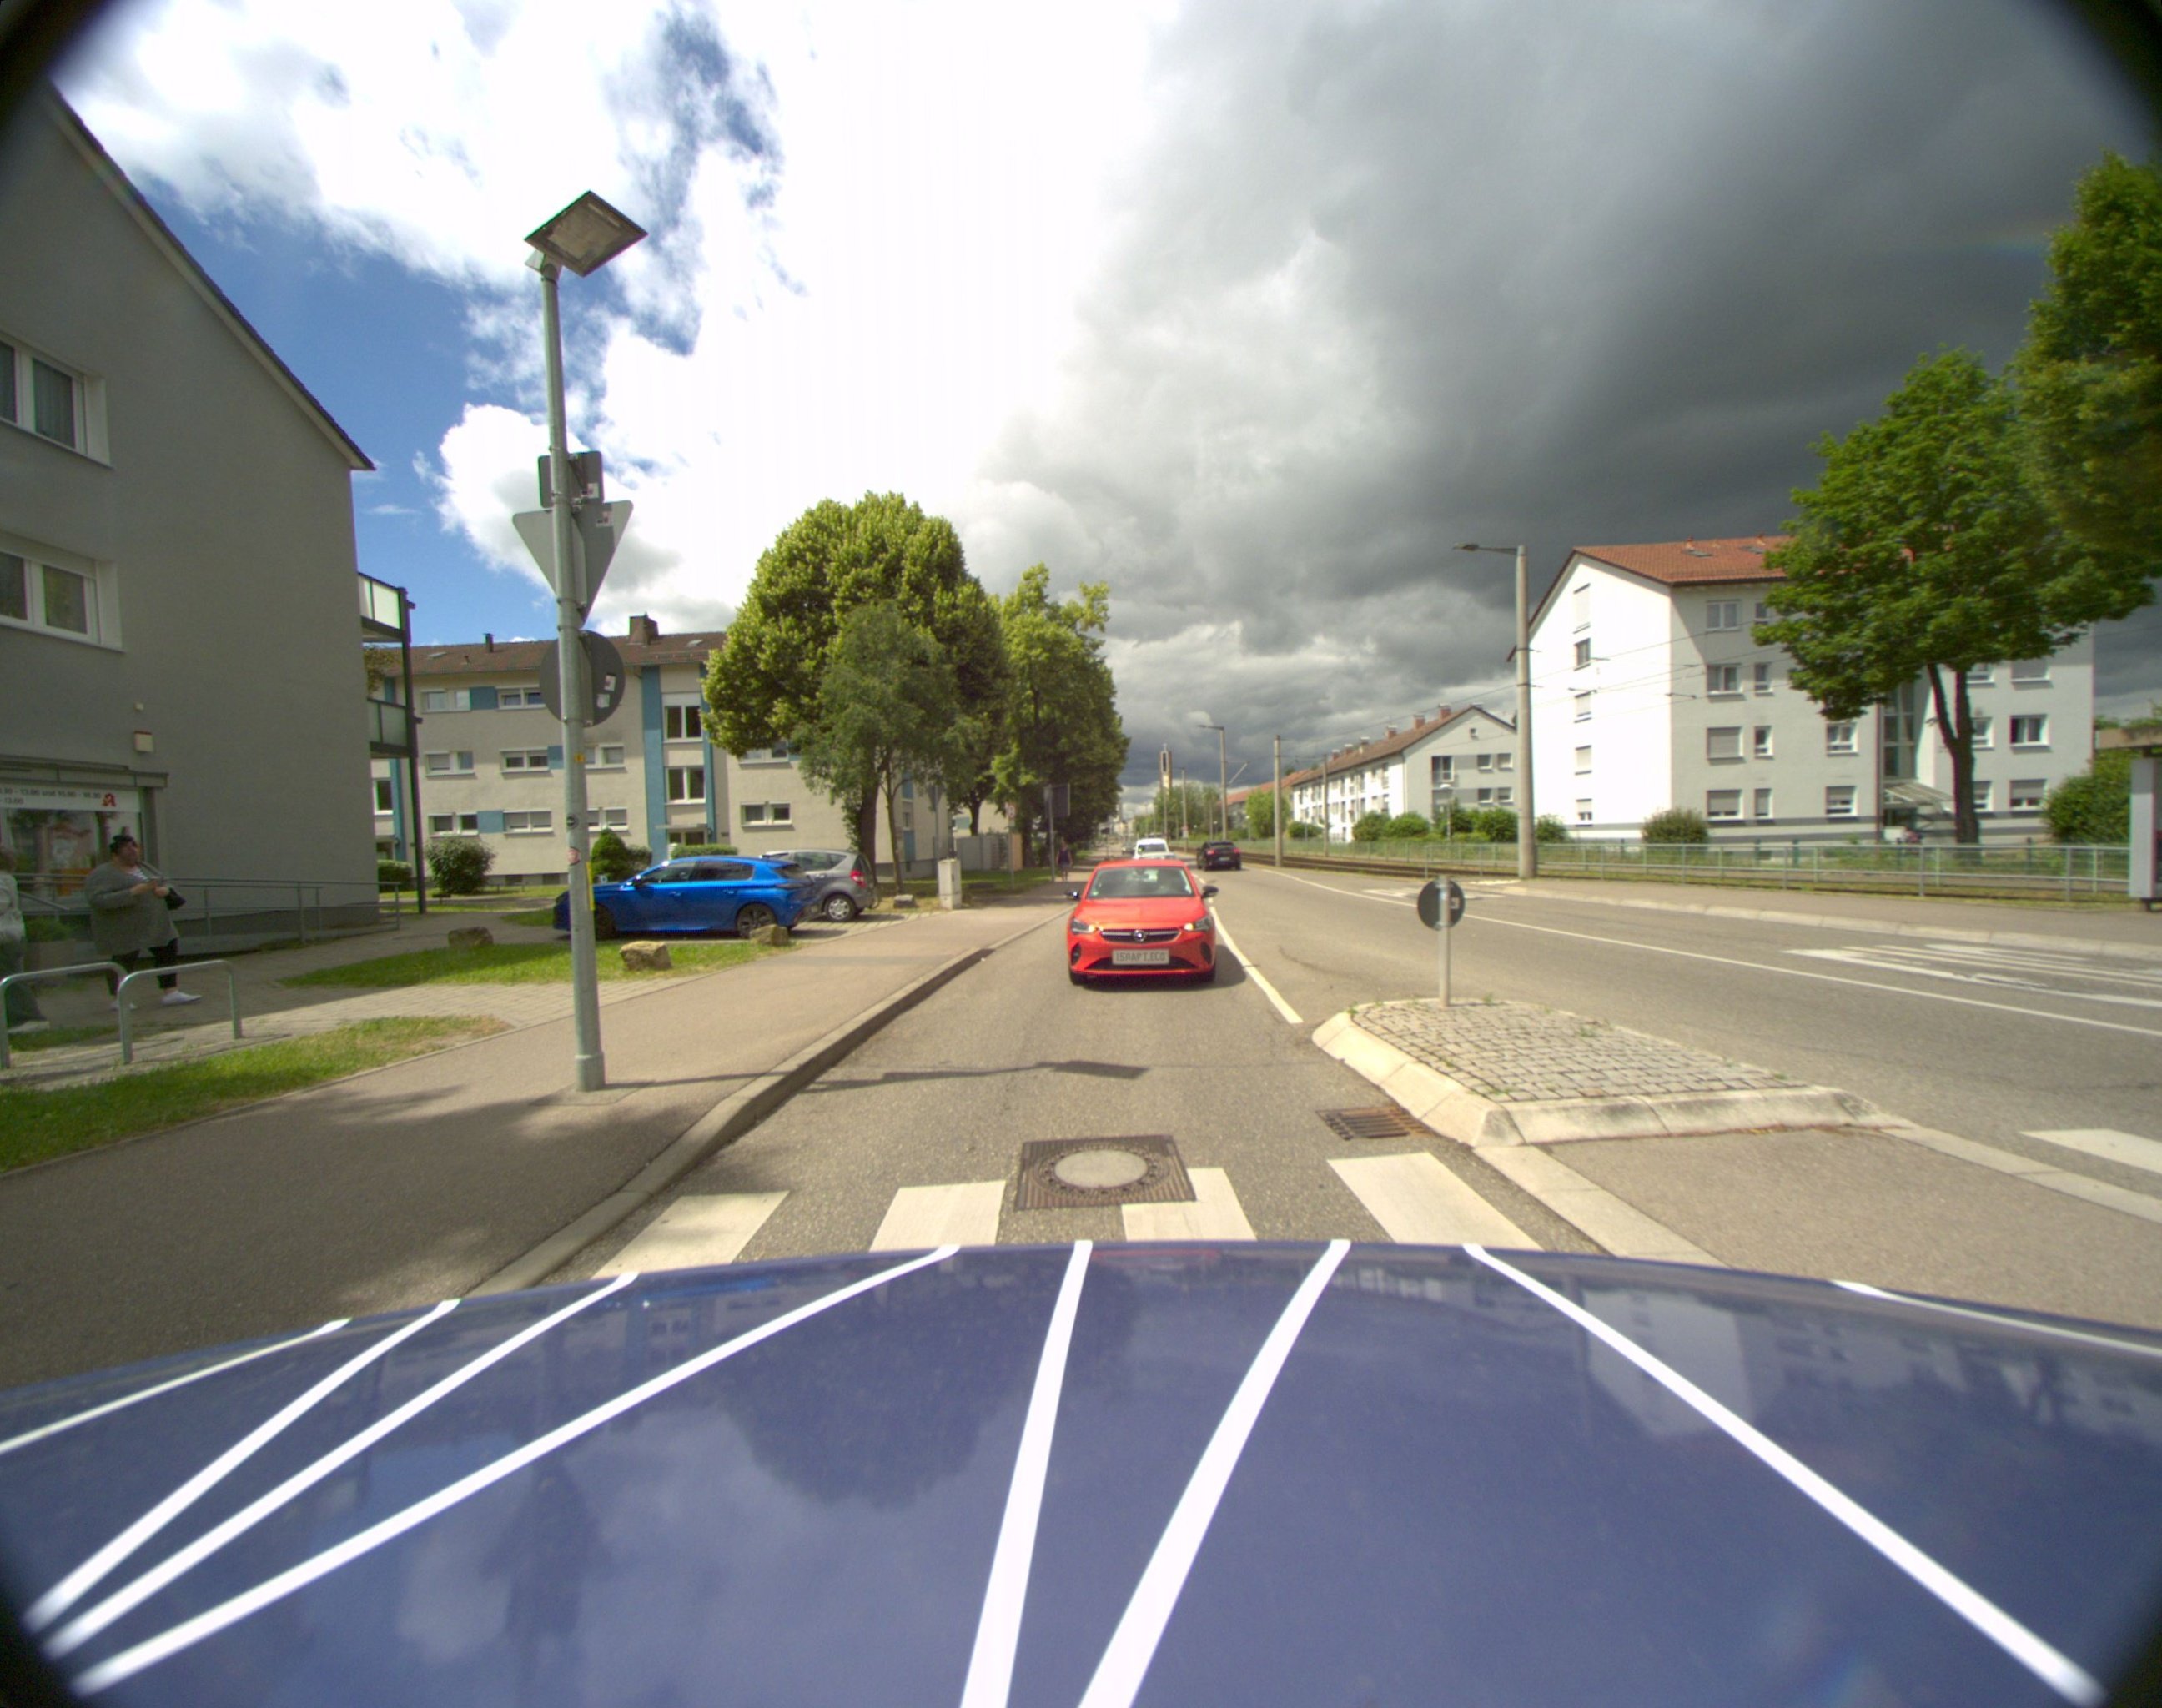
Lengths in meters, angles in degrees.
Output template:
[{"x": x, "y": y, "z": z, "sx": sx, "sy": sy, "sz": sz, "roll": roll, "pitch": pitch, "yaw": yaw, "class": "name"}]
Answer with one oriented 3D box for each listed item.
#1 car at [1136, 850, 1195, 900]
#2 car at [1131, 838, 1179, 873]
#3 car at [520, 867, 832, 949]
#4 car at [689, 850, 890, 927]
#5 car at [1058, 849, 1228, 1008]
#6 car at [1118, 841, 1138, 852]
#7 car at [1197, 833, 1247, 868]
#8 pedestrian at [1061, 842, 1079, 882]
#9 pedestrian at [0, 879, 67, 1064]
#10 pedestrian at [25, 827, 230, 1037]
[{"x": 2.720, "y": 0.626, "z": 24.894, "sx": 1.763, "sy": 1.390, "sz": 4.000, "roll": -1, "pitch": 1, "yaw": 5, "class": "car"}, {"x": 3.582, "y": 0.028, "z": 37.354, "sx": 1.998, "sy": 1.598, "sz": 3.999, "roll": -1, "pitch": 1, "yaw": 1, "class": "car"}, {"x": -7.011, "y": 0.933, "z": 13.632, "sx": 4.497, "sy": 1.236, "sz": 1.998, "roll": 1, "pitch": 1, "yaw": -7, "class": "car"}, {"x": -6.355, "y": 0.727, "z": 16.947, "sx": 3.740, "sy": 1.548, "sz": 2.030, "roll": 1, "pitch": 1, "yaw": -5, "class": "car"}, {"x": 0.835, "y": 0.790, "z": 10.042, "sx": 1.765, "sy": 1.549, "sz": 4.000, "roll": -1, "pitch": 2, "yaw": 5, "class": "car"}, {"x": 5.919, "y": -1.002, "z": 95.266, "sx": 1.917, "sy": 1.309, "sz": 4.002, "roll": -1, "pitch": 2, "yaw": 10, "class": "car"}, {"x": 7.344, "y": -0.226, "z": 39.994, "sx": 1.998, "sy": 1.517, "sz": 4.522, "roll": -1, "pitch": 3, "yaw": 3, "class": "car"}, {"x": -0.461, "y": 0.329, "z": 31.666, "sx": 0.684, "sy": 1.651, "sz": 0.831, "roll": -1, "pitch": 2, "yaw": -3, "class": "pedestrian"}, {"x": -9.376, "y": 0.995, "z": 6.367, "sx": 0.744, "sy": 1.521, "sz": 0.691, "roll": -1, "pitch": 2, "yaw": -2, "class": "pedestrian"}, {"x": -9.437, "y": 0.717, "z": 7.560, "sx": 0.841, "sy": 1.945, "sz": 0.943, "roll": -1, "pitch": 2, "yaw": 16, "class": "pedestrian"}]
